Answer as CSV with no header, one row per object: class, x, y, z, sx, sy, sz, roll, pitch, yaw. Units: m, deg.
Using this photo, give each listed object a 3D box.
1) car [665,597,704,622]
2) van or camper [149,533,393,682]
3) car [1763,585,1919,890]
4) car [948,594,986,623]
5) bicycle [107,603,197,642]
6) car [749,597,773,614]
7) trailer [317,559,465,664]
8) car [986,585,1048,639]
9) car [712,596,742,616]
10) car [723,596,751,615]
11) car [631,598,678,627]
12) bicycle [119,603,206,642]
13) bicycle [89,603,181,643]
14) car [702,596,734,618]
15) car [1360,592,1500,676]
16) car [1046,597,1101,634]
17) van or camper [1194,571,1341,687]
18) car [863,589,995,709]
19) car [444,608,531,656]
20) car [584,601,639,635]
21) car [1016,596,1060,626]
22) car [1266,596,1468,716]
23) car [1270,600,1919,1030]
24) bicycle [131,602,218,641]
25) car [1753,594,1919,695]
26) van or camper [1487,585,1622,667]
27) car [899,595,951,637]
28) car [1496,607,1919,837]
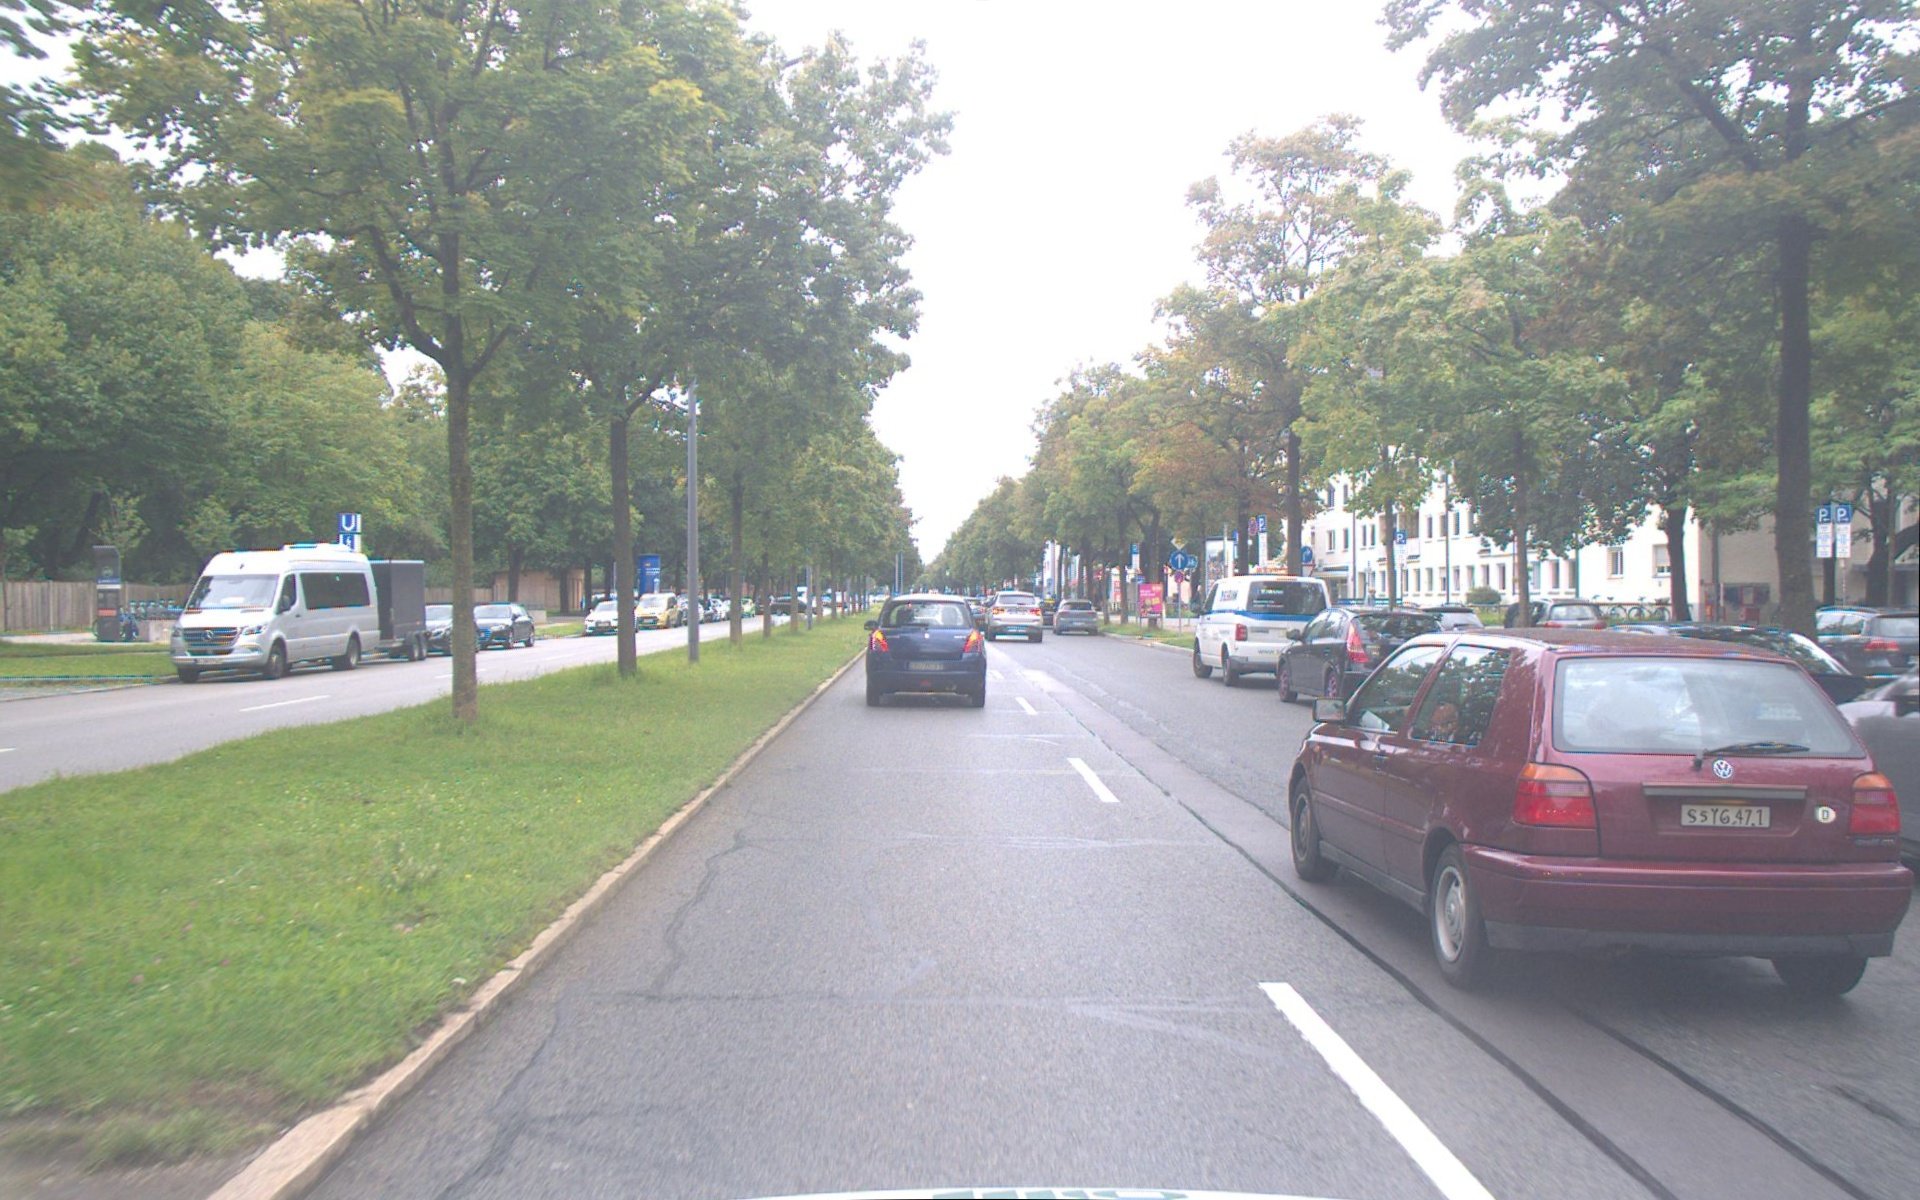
car,-16.418,0.548,98.630,1.813,1.472,4.095,0,0,-3
van or camper,-14.767,0.129,36.102,2.262,2.883,7.492,0,0,-1
car,6.054,0.768,8.581,1.650,1.654,4.306,1,0,0
car,0.364,0.433,87.136,1.813,1.472,4.095,0,0,-3
bicycle,-25.273,0.694,51.745,2.448,1.164,0.707,1,0,1
car,-17.583,0.488,146.295,1.813,1.472,4.095,0,0,-3
trailer,-14.932,0.262,43.768,2.063,2.585,5.575,0,0,-1
car,1.906,0.401,56.667,1.813,1.773,4.095,0,0,-3
car,-17.000,0.439,120.901,1.813,1.472,4.095,0,0,-3
car,-17.378,0.394,129.194,1.813,1.472,4.095,0,0,-3
car,-15.762,0.614,85.499,1.813,1.472,4.095,0,0,-3
bicycle,-25.293,0.716,52.441,2.448,1.164,0.600,1,0,1
bicycle,-25.314,0.697,50.745,2.448,1.164,0.723,1,0,1
car,-16.831,0.467,115.385,1.813,1.472,4.095,0,0,-3
car,9.555,0.645,33.922,1.650,1.613,4.026,0,0,-1
car,4.698,0.620,68.789,1.813,1.472,4.095,0,0,-3
van or camper,5.598,0.491,30.630,1.905,2.009,4.306,0,0,0
car,-0.502,0.639,23.968,1.753,1.583,3.998,0,0,-3
car,-15.236,1.003,53.547,1.813,1.472,4.095,0,0,-3
car,-15.731,0.798,74.796,1.813,1.472,4.095,0,0,-3
car,3.869,0.543,82.618,1.813,1.472,4.095,0,0,-3
car,5.795,0.740,24.075,1.651,1.581,4.303,0,0,-4
car,2.668,0.745,7.749,1.589,1.479,3.948,0,0,-2
bicycle,-25.269,0.687,53.224,2.448,1.164,0.654,1,0,1
car,15.387,0.711,28.438,1.649,1.613,4.028,0,0,1
van or camper,15.180,0.625,42.498,1.905,2.009,4.306,0,0,0
car,-1.314,0.542,60.213,1.813,1.472,4.095,0,0,-3
car,5.982,0.862,13.741,1.650,1.581,4.306,0,0,0
